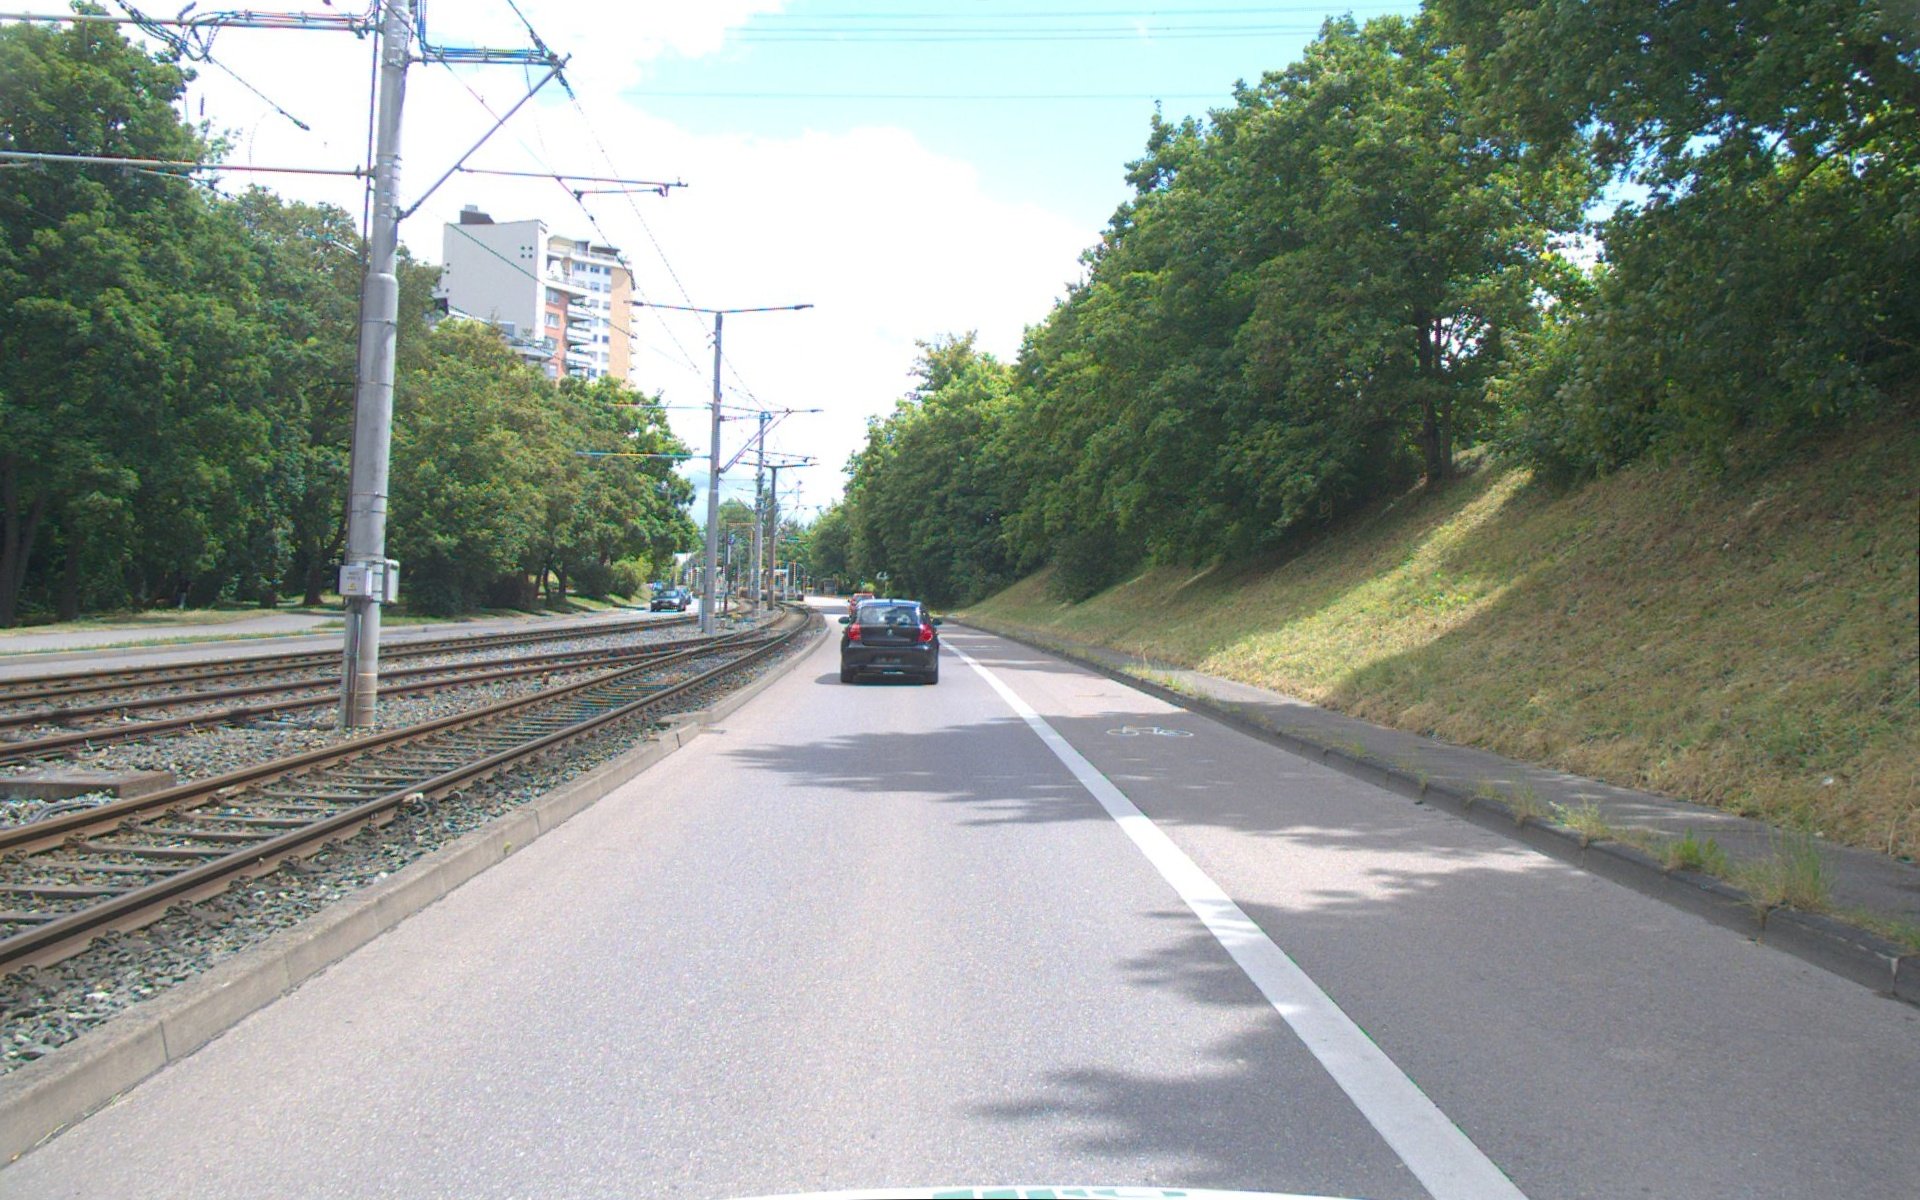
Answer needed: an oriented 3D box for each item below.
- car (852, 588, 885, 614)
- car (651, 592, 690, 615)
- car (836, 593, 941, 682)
[{"bbox_3d":[-5.467,0.080,98.258,1.747,1.485,3.916,1,0,-6],"label":"car"},{"bbox_3d":[-18.124,0.194,103.670,1.799,1.415,4.859,-1,0,-2],"label":"car"},{"bbox_3d":[-1.327,0.616,29.379,1.746,1.485,3.917,0,0,-4],"label":"car"}]
